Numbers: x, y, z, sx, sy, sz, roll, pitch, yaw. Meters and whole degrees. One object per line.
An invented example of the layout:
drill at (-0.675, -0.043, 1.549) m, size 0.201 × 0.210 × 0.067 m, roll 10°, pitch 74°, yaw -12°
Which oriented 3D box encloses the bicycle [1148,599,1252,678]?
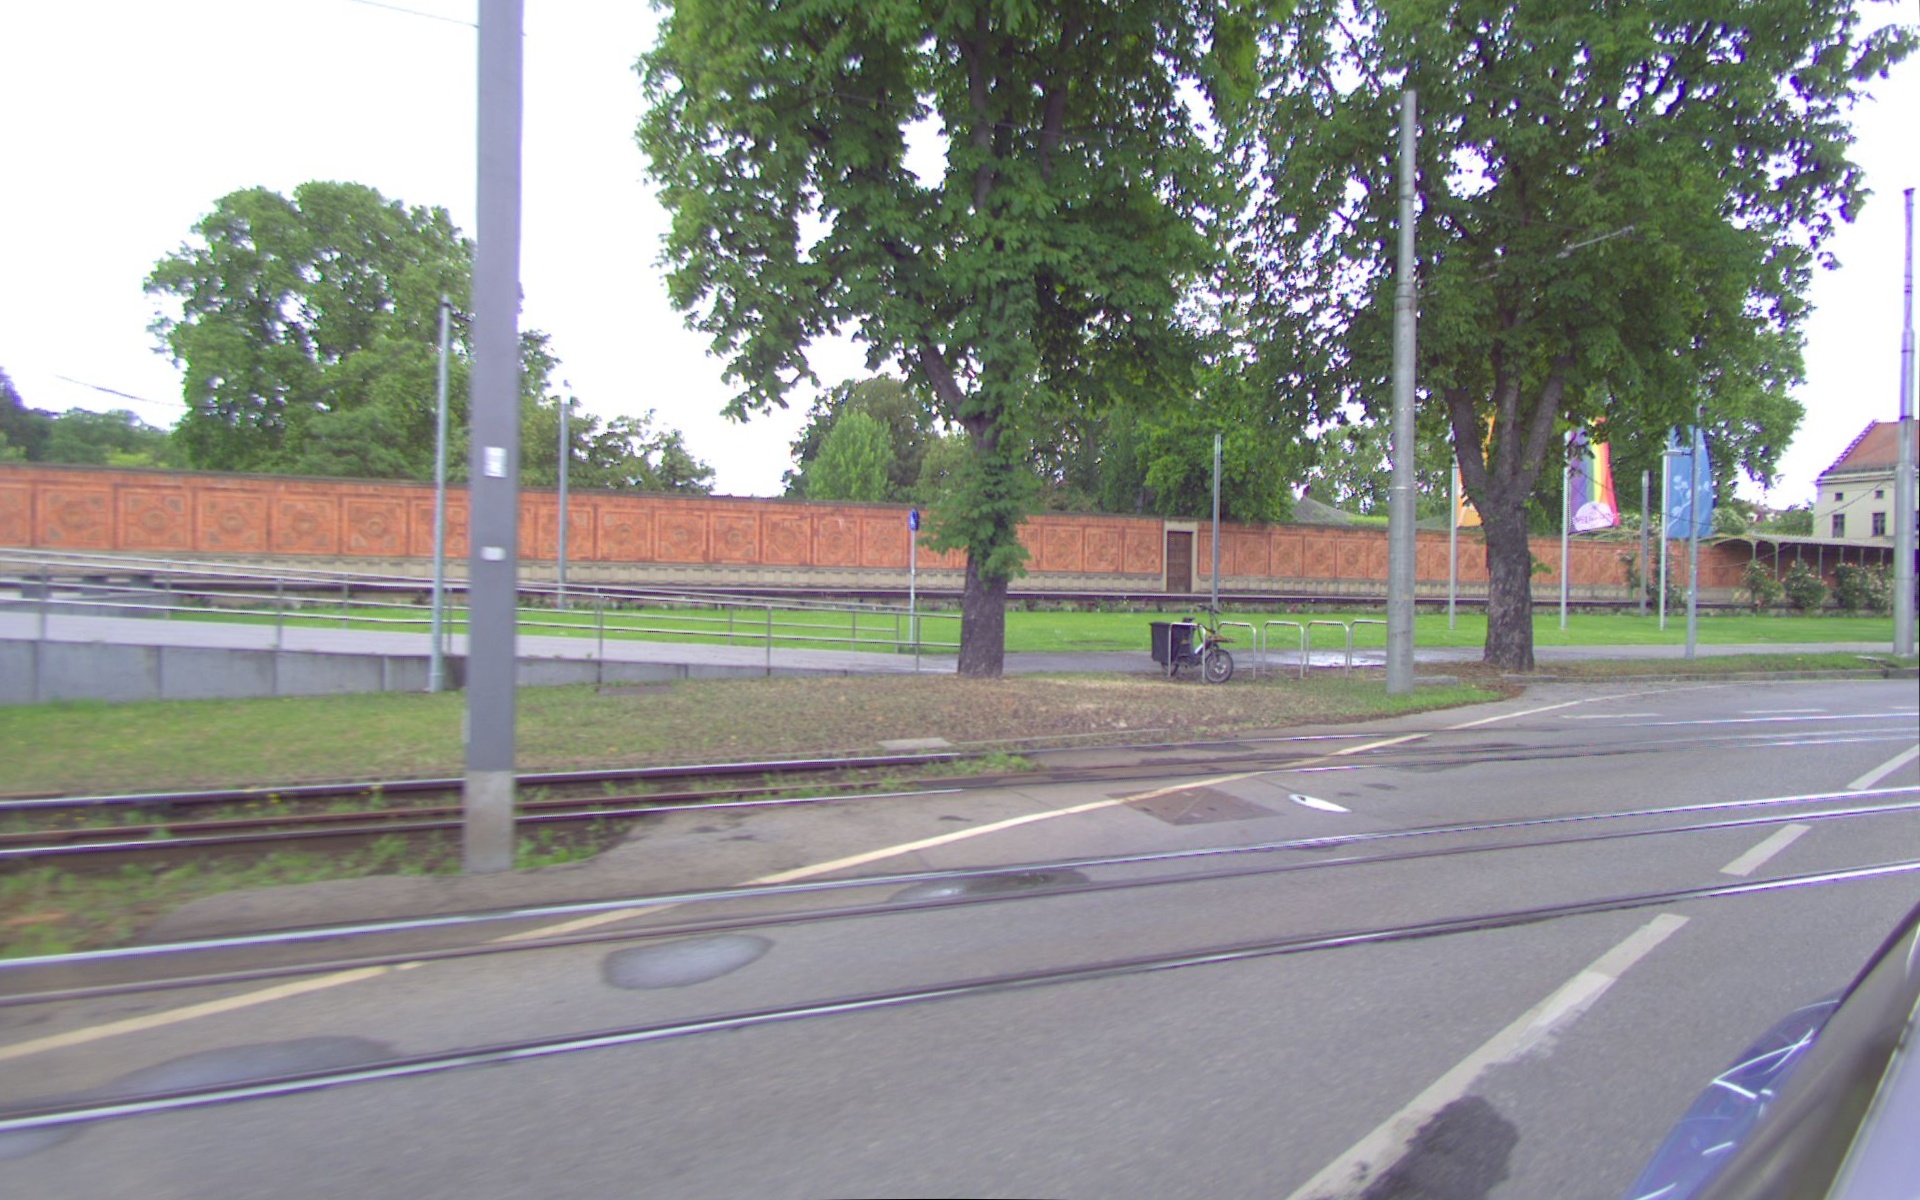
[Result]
bicycle at (3.880, 0.589, 16.563) m, size 0.725 × 1.172 × 2.002 m, roll 0°, pitch 1°, yaw -17°
